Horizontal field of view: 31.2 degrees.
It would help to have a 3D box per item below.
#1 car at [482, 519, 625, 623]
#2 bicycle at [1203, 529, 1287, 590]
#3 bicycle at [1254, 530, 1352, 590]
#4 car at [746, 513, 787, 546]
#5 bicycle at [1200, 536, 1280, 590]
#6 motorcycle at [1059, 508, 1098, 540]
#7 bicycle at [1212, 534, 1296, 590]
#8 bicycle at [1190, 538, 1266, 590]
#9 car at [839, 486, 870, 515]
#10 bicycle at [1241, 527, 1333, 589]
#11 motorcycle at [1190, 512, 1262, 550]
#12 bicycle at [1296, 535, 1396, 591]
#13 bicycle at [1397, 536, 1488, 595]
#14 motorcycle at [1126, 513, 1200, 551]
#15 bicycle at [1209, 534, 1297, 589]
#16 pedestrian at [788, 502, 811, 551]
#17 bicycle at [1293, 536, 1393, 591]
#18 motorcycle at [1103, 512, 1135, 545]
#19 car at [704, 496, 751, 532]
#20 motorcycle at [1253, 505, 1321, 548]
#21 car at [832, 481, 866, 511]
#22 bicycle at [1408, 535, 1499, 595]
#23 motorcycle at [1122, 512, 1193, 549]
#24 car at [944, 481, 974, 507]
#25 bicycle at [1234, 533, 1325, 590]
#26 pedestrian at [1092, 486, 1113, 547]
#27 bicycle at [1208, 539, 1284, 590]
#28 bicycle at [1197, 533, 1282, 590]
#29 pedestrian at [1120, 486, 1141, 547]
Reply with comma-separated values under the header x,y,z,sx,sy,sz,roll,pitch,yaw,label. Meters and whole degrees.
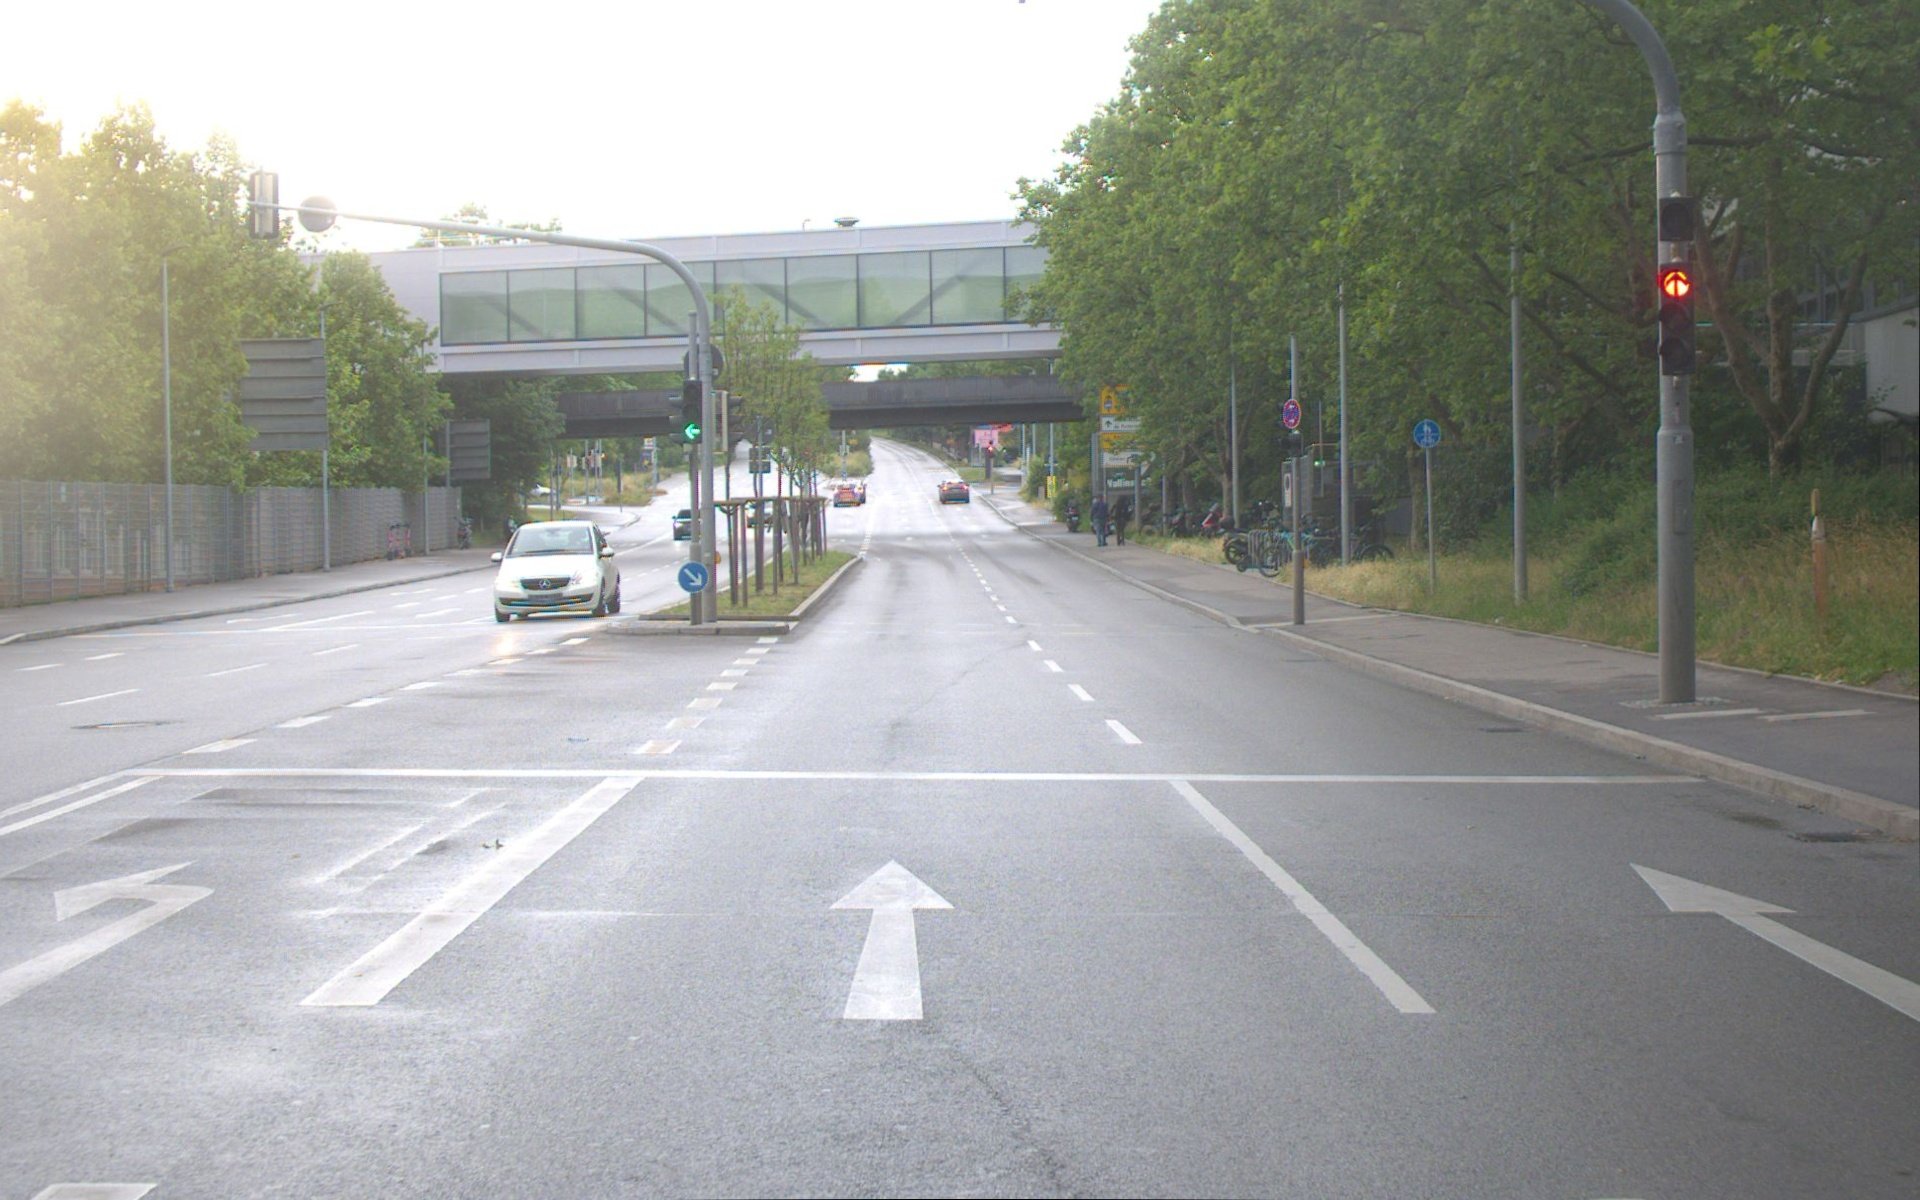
x,y,z,sx,sy,sz,roll,pitch,yaw,label
-6.674,-0.502,56.757,1.877,1.619,3.779,-1,1,0,car
6.993,-0.990,84.410,1.990,1.425,0.723,1,0,1,bicycle
7.249,-0.844,72.734,1.990,1.212,0.541,1,0,1,bicycle
-10.033,-3.655,178.304,1.877,1.619,3.779,-1,1,0,car
7.100,-0.944,87.212,1.960,1.324,0.576,1,0,1,bicycle
4.907,-3.143,142.313,0.790,1.307,2.377,-2,1,-18,motorcycle
7.291,-0.934,85.262,1.990,1.324,0.576,1,0,1,bicycle
7.113,-0.956,91.314,1.963,1.324,0.654,1,0,1,bicycle
-7.058,-6.620,229.530,1.884,1.756,3.969,1,0,0,car
7.320,-0.948,77.000,1.990,1.336,0.541,1,0,1,bicycle
8.982,-2.320,116.025,2.369,1.198,0.722,-2,1,8,motorcycle
7.935,-0.760,70.700,1.990,1.091,0.541,1,0,1,bicycle
11.220,-0.809,79.971,1.990,1.324,0.576,1,0,1,bicycle
6.780,-2.263,114.797,2.369,1.198,0.722,-2,1,8,motorcycle
6.814,-0.888,80.020,1.990,1.237,0.541,1,0,1,bicycle
-6.583,-3.004,140.918,0.852,1.997,0.875,-2,1,1,pedestrian
7.934,-0.762,71.269,1.990,1.091,0.541,1,0,1,bicycle
6.341,-2.851,137.275,0.790,1.307,2.377,-2,1,-8,motorcycle
-10.789,-3.991,159.648,1.877,1.619,3.779,-1,1,0,car
11.783,-2.632,123.835,2.369,1.471,0.722,-2,1,8,motorcycle
-7.218,-6.758,223.594,1.993,1.756,4.000,1,0,0,car
11.307,-0.804,78.804,1.990,1.324,0.576,1,0,1,bicycle
6.808,-2.402,118.384,2.369,1.198,0.722,-2,1,8,motorcycle
-0.067,-6.775,219.808,1.875,1.492,4.068,1,0,0,car
7.222,-0.871,77.693,1.990,1.237,0.541,1,0,1,bicycle
4.759,-2.776,114.691,0.622,2.007,0.605,-2,1,0,pedestrian
7.704,-0.945,92.715,1.963,1.324,0.654,1,0,1,bicycle
6.725,-0.929,82.735,1.990,1.324,0.576,1,0,1,bicycle
5.681,-2.778,114.438,0.622,2.007,0.605,-2,1,0,pedestrian
